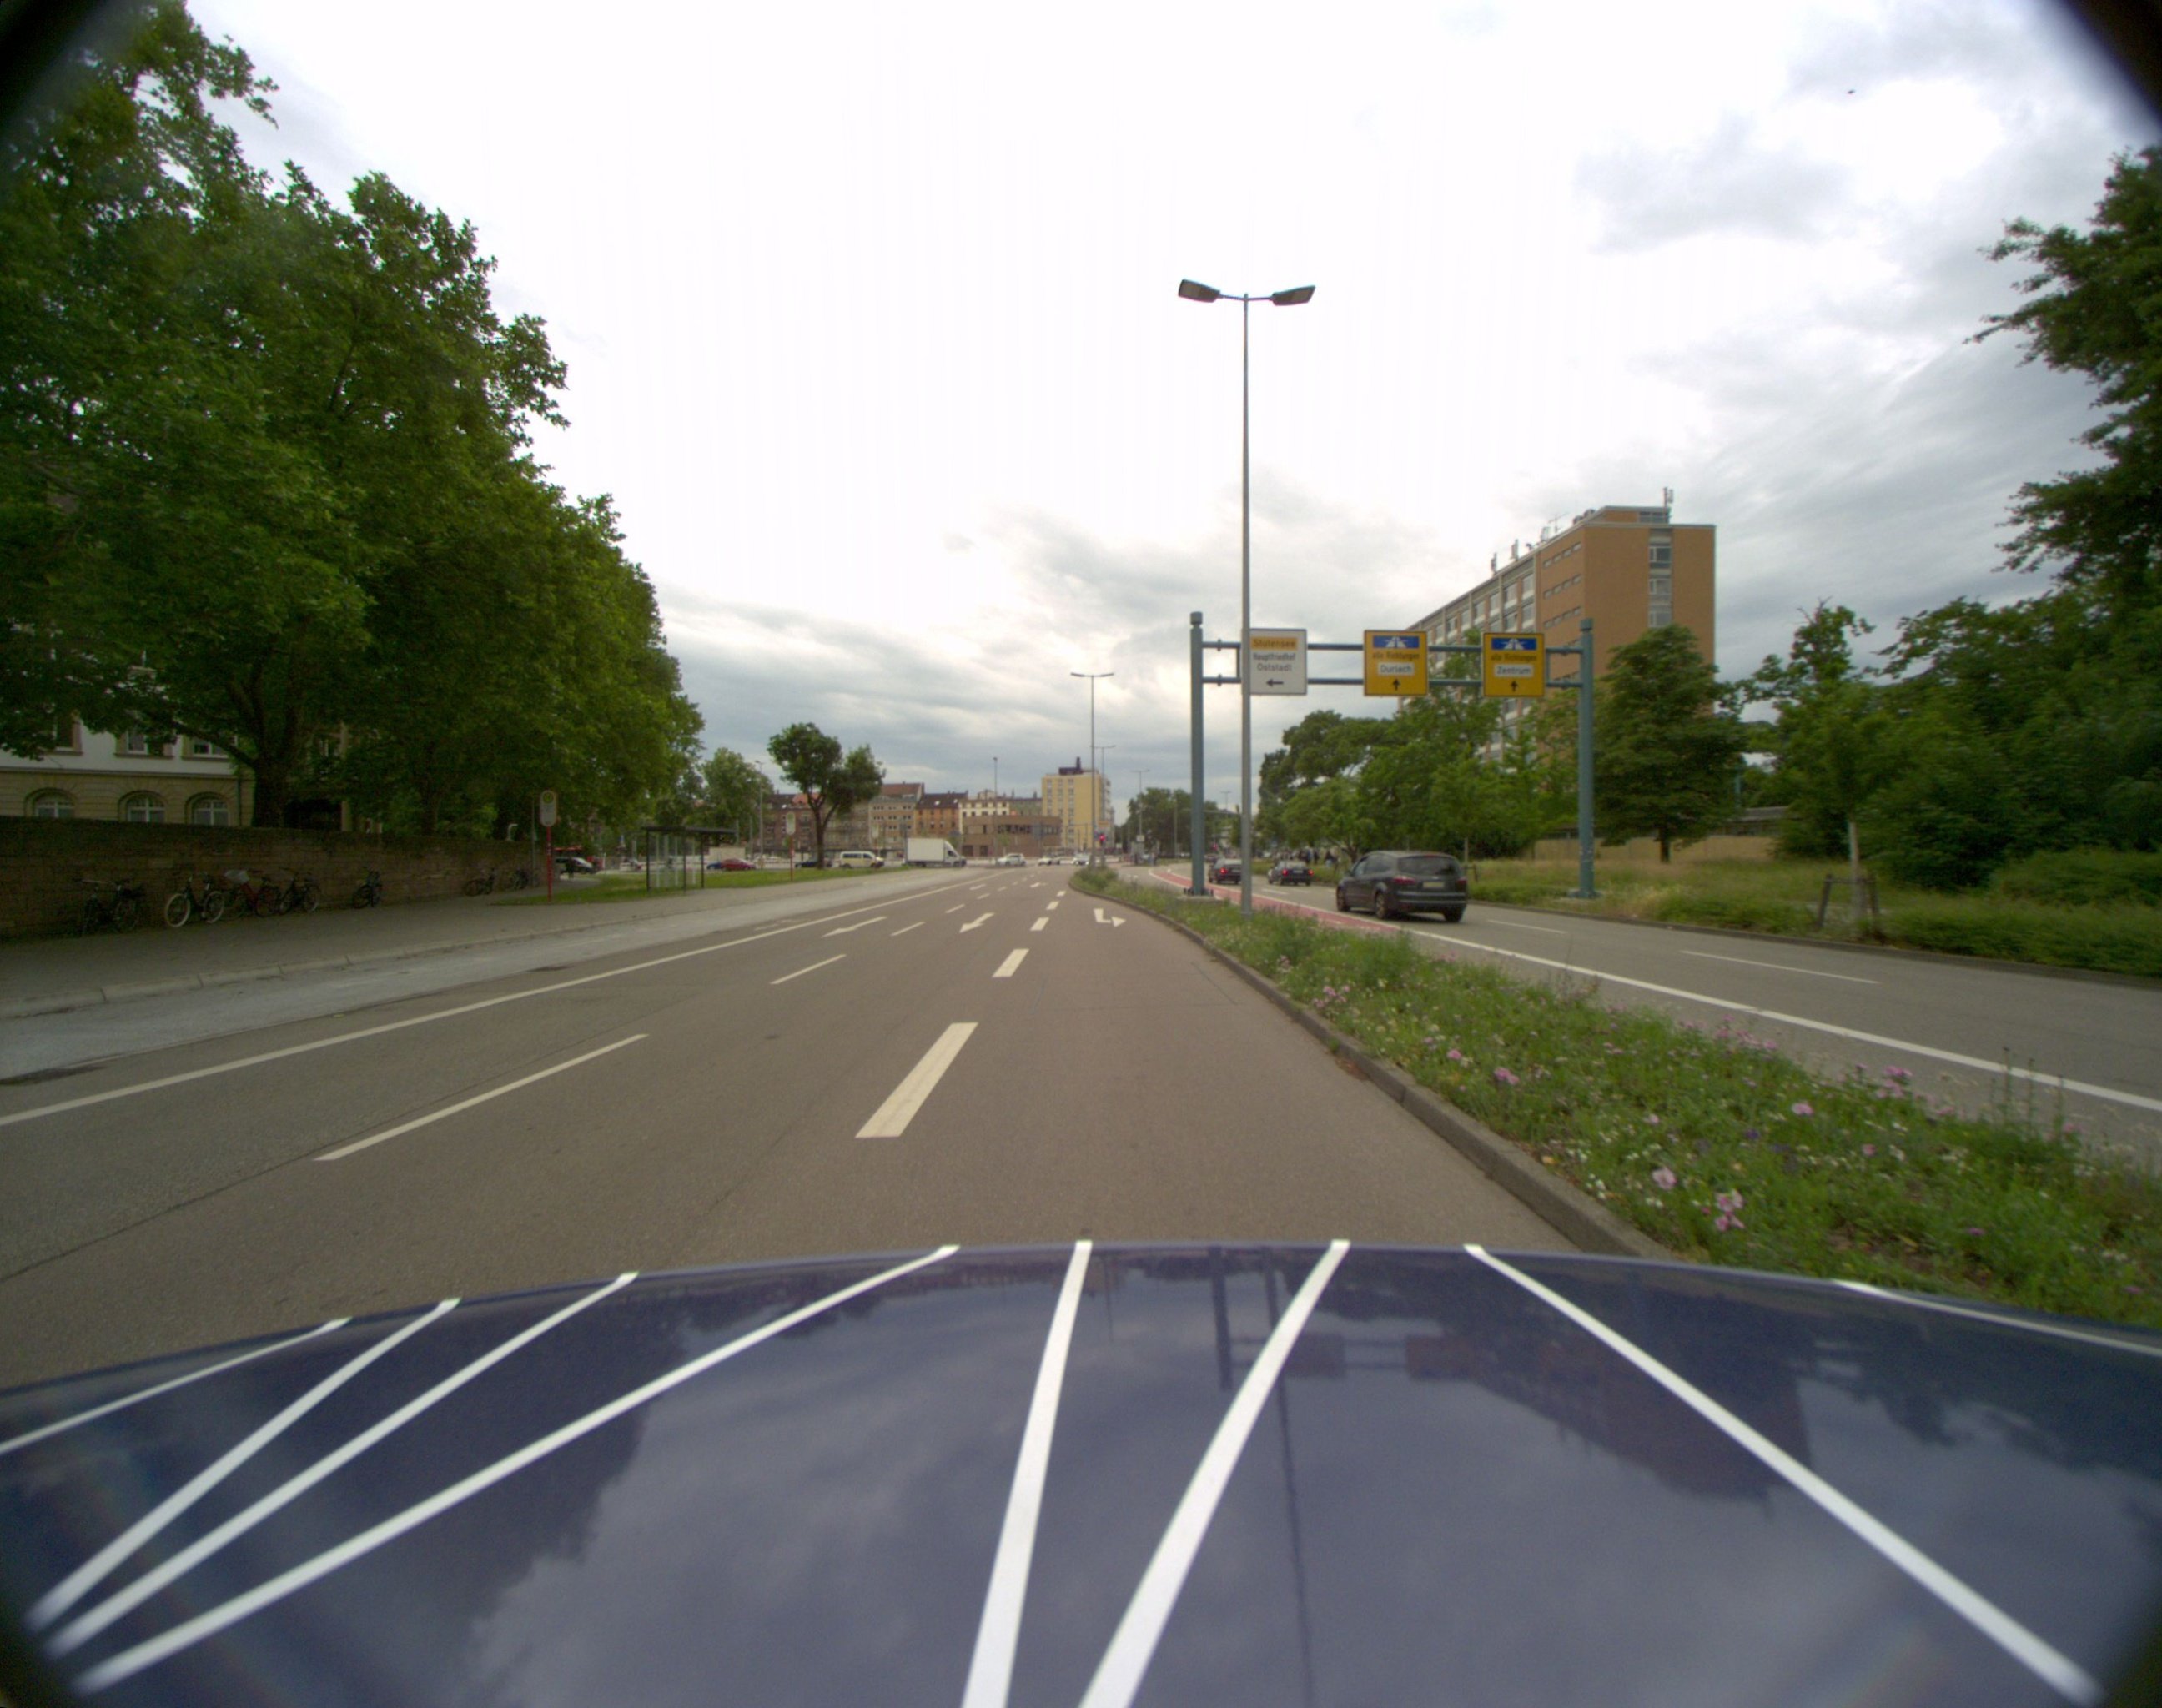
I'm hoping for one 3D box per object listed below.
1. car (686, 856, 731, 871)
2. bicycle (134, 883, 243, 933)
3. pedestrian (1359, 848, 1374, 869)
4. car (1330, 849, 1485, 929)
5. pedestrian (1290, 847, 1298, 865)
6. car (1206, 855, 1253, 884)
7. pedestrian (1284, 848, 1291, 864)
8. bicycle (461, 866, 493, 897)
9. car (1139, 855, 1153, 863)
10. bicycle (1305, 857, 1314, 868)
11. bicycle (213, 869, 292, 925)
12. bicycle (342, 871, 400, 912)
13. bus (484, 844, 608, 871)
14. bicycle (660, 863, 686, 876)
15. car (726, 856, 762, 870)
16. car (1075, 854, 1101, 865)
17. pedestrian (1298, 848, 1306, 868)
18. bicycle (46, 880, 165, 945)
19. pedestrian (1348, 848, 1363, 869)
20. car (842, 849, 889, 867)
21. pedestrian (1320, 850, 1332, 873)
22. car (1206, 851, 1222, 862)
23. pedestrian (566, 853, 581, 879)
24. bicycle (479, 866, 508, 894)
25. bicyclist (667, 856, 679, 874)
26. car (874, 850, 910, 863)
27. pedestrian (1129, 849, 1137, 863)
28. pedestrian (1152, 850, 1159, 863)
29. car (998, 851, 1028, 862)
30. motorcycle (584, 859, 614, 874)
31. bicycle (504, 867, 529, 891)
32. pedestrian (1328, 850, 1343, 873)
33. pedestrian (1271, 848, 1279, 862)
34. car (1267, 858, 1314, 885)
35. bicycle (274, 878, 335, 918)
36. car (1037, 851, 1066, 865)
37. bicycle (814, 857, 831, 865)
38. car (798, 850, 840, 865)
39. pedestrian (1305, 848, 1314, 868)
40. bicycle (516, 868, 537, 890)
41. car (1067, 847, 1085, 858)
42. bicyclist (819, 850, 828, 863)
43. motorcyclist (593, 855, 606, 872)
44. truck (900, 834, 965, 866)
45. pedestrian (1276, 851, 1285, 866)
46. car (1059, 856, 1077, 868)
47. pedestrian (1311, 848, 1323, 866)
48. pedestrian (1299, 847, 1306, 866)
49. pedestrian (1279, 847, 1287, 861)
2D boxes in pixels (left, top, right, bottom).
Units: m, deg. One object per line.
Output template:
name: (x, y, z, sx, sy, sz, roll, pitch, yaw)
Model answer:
car: (-43.691, 1.084, 89.234, 4.432, 1.735, 1.763, 1, 0, -9)
bicycle: (-19.035, 1.129, 16.256, 0.656, 0.945, 1.767, 1, 0, -17)
pedestrian: (18.349, 0.297, 48.839, 0.646, 1.354, 0.680, 1, 0, -2)
car: (7.795, 0.752, 18.678, 1.925, 1.655, 4.398, 1, 1, 1)
pedestrian: (19.593, 0.175, 69.881, 0.622, 1.685, 0.748, 1, 0, 19)
car: (8.166, 0.818, 42.156, 1.768, 1.452, 4.791, 1, 1, 1)
pedestrian: (23.588, 0.191, 86.892, 0.638, 1.790, 0.762, -1, 0, 4)
bicycle: (-23.672, 1.074, 29.814, 0.596, 1.129, 1.709, 1, 0, -25)
car: (11.738, 0.882, 137.493, 1.782, 1.255, 3.535, -1, 1, 19)
bicycle: (18.450, 0.691, 61.292, 0.661, 0.882, 1.717, 1, 0, 16)
bicycle: (-19.584, 0.991, 17.994, 0.501, 1.214, 1.624, 1, 0, -17)
bicycle: (-20.499, 1.056, 21.963, 0.599, 1.098, 1.652, 1, 0, -19)
bus: (-62.236, 0.372, 88.614, 12.091, 2.891, 2.937, -1, 0, -3)
bicycle: (-43.943, 1.703, 81.850, 2.391, 1.316, 0.764, 1, 0, -6)
car: (-37.549, 0.988, 84.644, 3.431, 1.372, 1.288, -1, -7, -5)
car: (0.883, 0.700, 96.782, 1.837, 1.465, 3.718, 1, 0, 26)
pedestrian: (17.730, 0.347, 61.067, 0.575, 1.599, 0.617, 1, 0, 16)
bicycle: (-18.455, 1.067, 14.431, 0.722, 1.093, 1.788, 1, 0, -28)
pedestrian: (17.675, 0.280, 48.938, 0.646, 1.350, 0.711, 1, 0, -1)
car: (-24.135, 0.418, 85.169, 4.712, 1.909, 1.919, -1, 3, -3)
pedestrian: (17.875, 0.568, 55.387, 0.587, 1.650, 0.720, 1, 0, -5)
car: (22.891, 0.410, 130.394, 1.812, 1.657, 3.955, 1, 1, 23)
pedestrian: (-34.274, 0.795, 51.338, 0.759, 1.725, 0.820, 0, 1, -39)
bicycle: (-24.284, 1.064, 31.439, 0.596, 1.123, 1.709, 1, 0, -25)
bicyclist: (-43.929, 1.164, 81.850, 0.896, 1.849, 0.764, 1, 0, -5)
car: (-22.371, 0.269, 90.065, 4.033, 1.466, 1.819, 1, 0, -11)
pedestrian: (6.764, 0.217, 99.691, 0.917, 1.794, 0.541, 1, 1, 17)
pedestrian: (9.824, 0.364, 100.116, 0.777, 1.657, 0.706, 1, 0, -8)
car: (-8.331, 0.321, 93.648, 3.439, 1.382, 1.514, 1, 0, -41)
motorcycle: (-51.295, 1.358, 80.947, 2.515, 1.592, 0.928, 1, 0, -12)
bicycle: (-25.659, 1.128, 34.572, 0.596, 1.053, 1.709, 1, 0, -25)
pedestrian: (18.565, 0.565, 55.416, 0.709, 1.663, 0.767, 1, 0, -5)
pedestrian: (23.447, 0.085, 91.756, 0.708, 1.661, 0.943, -1, 0, 4)
car: (11.435, 0.939, 41.701, 1.611, 1.373, 3.809, 1, 0, 2)
bicycle: (-20.104, 1.127, 19.710, 0.417, 0.937, 1.523, 1, 0, -17)
car: (-3.838, 0.574, 99.767, 1.834, 1.753, 3.920, 1, 0, 35)
bicycle: (-28.055, 0.773, 82.499, 1.695, 0.910, 0.767, 1, 0, -10)
car: (-30.729, 0.420, 89.045, 4.282, 1.628, 1.690, 1, 0, 2)
pedestrian: (18.456, 0.296, 61.288, 0.661, 1.622, 0.764, 1, 0, 16)
bicycle: (-26.372, 1.170, 36.142, 0.552, 0.986, 1.633, 1, 0, -28)
car: (-0.688, -0.210, 112.186, 1.864, 1.557, 4.004, 1, 0, 11)
bicyclist: (-27.985, 0.270, 82.515, 0.740, 1.499, 0.767, 1, 0, -10)
motorcyclist: (-51.286, 0.984, 80.928, 0.918, 1.818, 0.928, 1, 0, -12)
truck: (-16.668, -0.480, 85.474, 6.852, 3.393, 2.559, -1, 2, -5)
pedestrian: (20.259, 0.426, 77.032, 0.730, 1.471, 0.813, 1, 0, 4)
car: (-1.415, 0.862, 82.891, 1.785, 1.255, 3.830, -1, 1, 1)
pedestrian: (21.454, 0.299, 69.099, 0.635, 1.603, 0.829, -2, 0, -21)
pedestrian: (20.428, 0.215, 70.002, 0.579, 1.702, 0.763, 1, 0, 20)
pedestrian: (24.374, 0.050, 91.587, 0.708, 1.661, 0.890, -2, 0, 4)
